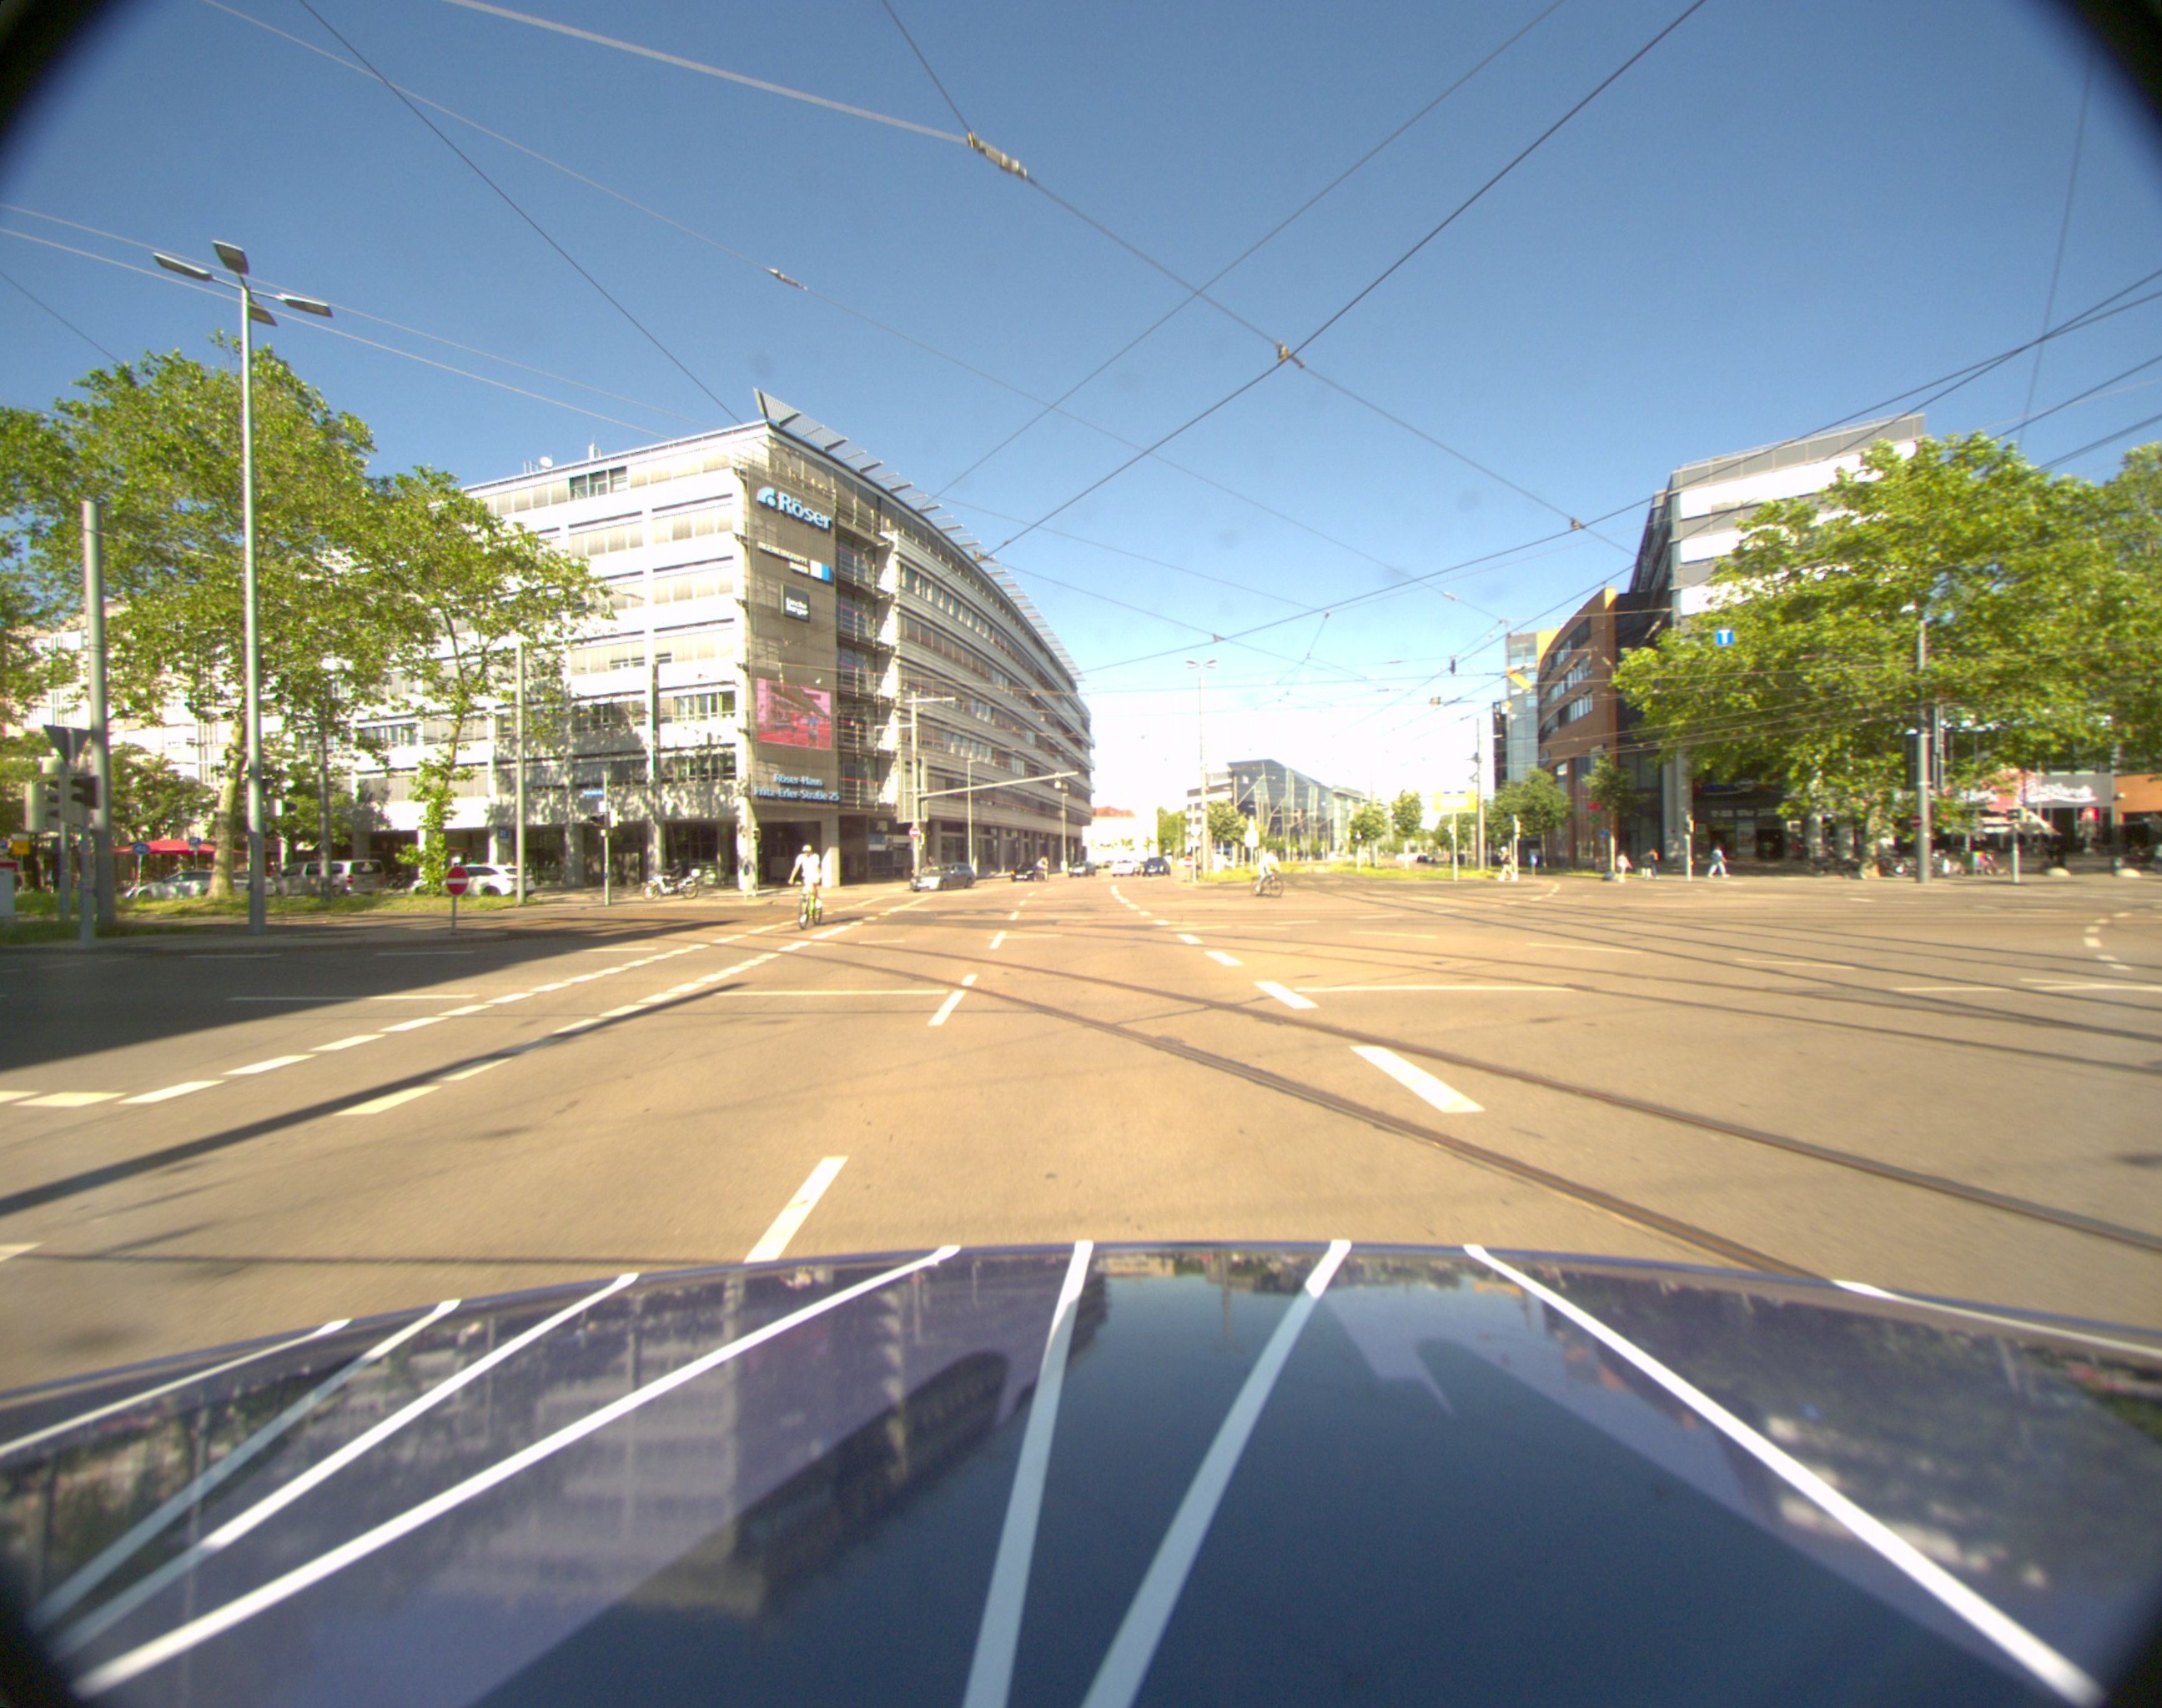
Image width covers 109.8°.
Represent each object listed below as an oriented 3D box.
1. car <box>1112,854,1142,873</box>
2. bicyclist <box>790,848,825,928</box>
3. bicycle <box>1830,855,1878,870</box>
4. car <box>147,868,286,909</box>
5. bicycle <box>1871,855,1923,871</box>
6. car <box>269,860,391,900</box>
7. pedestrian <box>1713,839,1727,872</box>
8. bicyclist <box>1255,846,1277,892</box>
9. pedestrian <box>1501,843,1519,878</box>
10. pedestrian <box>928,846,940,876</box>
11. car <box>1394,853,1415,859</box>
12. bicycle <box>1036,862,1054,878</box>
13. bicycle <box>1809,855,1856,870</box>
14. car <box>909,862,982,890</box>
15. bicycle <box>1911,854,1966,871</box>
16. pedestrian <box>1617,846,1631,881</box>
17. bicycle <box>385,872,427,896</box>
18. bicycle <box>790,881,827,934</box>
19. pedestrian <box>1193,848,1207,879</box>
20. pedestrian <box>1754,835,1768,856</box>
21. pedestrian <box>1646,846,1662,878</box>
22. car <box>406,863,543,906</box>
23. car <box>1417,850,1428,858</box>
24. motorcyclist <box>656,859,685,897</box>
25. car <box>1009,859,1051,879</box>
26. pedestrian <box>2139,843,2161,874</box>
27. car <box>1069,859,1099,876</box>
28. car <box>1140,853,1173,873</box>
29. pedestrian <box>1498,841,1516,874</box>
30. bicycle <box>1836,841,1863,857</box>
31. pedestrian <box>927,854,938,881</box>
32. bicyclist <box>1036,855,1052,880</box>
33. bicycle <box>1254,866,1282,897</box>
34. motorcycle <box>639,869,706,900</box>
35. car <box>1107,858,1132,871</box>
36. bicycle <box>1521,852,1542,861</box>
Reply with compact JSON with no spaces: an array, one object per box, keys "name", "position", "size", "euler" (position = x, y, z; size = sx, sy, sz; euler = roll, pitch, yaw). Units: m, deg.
[{"name":"car","position":[4.139,0.811,67.243],"size":[1.871,1.620,4.343],"euler":[-1,-1,13]},{"name":"bicyclist","position":[-6.211,0.757,17.315],"size":[0.651,1.742,1.044],"euler":[0,-1,-15]},{"name":"bicycle","position":[41.268,0.445,40.579],"size":[2.028,0.794,0.376],"euler":[-1,0,7]},{"name":"car","position":[-36.311,1.432,31.976],"size":[4.132,1.532,1.914],"euler":[-3,-1,9]},{"name":"bicycle","position":[40.930,0.446,38.122],"size":[2.028,0.794,0.376],"euler":[-1,0,7]},{"name":"car","position":[-36.620,1.257,37.106],"size":[4.385,1.841,1.821],"euler":[-1,1,6]},{"name":"pedestrian","position":[35.794,0.067,42.564],"size":[0.462,1.820,0.458],"euler":[-1,0,-22]},{"name":"bicyclist","position":[6.897,0.553,28.323],"size":[0.619,1.659,1.020],"euler":[-2,0,7]},{"name":"pedestrian","position":[22.570,0.361,39.969],"size":[0.761,1.820,0.626],"euler":[-1,0,25]},{"name":"pedestrian","position":[-8.952,0.413,46.309],"size":[0.609,1.787,0.639],"euler":[1,0,-21]},{"name":"car","position":[69.417,0.447,163.000],"size":[3.990,1.084,2.004],"euler":[-1,0,26]},{"name":"bicycle","position":[-2.476,1.103,52.330],"size":[0.827,1.030,1.893],"euler":[-2,-1,7]},{"name":"bicycle","position":[41.220,0.448,41.662],"size":[2.028,0.794,0.376],"euler":[-1,0,7]},{"name":"car","position":[-7.339,1.185,41.820],"size":[1.723,1.388,4.795],"euler":[-1,0,20]},{"name":"bicycle","position":[41.387,0.429,36.688],"size":[2.028,0.794,0.376],"euler":[-1,0,7]},{"name":"pedestrian","position":[28.573,0.478,39.991],"size":[0.386,1.820,0.463],"euler":[-1,0,-16]},{"name":"bicycle","position":[-36.566,1.607,41.186],"size":[0.468,1.212,1.731],"euler":[0,0,10]},{"name":"bicycle","position":[-6.223,1.198,17.413],"size":[0.651,1.103,1.756],"euler":[-1,0,-15]},{"name":"pedestrian","position":[6.745,0.525,43.127],"size":[0.671,1.742,0.769],"euler":[-1,0,3]},{"name":"pedestrian","position":[54.382,-0.684,60.745],"size":[0.507,1.615,0.789],"euler":[-1,2,16]},{"name":"pedestrian","position":[32.357,0.440,42.909],"size":[0.583,1.820,0.497],"euler":[-1,0,-22]},{"name":"car","position":[-25.433,1.257,31.970],"size":[4.136,1.574,1.912],"euler":[-3,-1,-2]},{"name":"car","position":[62.679,-0.042,139.437],"size":[1.430,1.351,3.300],"euler":[-1,0,18]},{"name":"motorcyclist","position":[-17.484,1.004,32.403],"size":[0.943,1.552,0.830],"euler":[-2,0,-21]},{"name":"car","position":[-3.763,1.083,56.809],"size":[1.724,1.414,4.643],"euler":[-1,0,15]},{"name":"pedestrian","position":[50.373,0.218,35.706],"size":[0.646,1.444,0.502],"euler":[-1,0,42]},{"name":"car","position":[0.321,1.282,72.916],"size":[1.724,1.515,4.404],"euler":[-1,0,16]},{"name":"car","position":[6.059,0.684,60.475],"size":[1.871,1.547,4.005],"euler":[-1,0,16]},{"name":"pedestrian","position":[23.351,0.199,41.631],"size":[0.762,1.820,0.625],"euler":[-1,0,21]},{"name":"bicycle","position":[54.693,-0.340,54.108],"size":[0.493,1.127,1.805],"euler":[-1,0,15]},{"name":"pedestrian","position":[-9.147,0.848,46.812],"size":[0.563,1.636,0.428],"euler":[1,0,-21]},{"name":"bicyclist","position":[-2.510,0.931,51.826],"size":[0.808,1.683,1.052],"euler":[-2,0,7]},{"name":"bicycle","position":[6.894,0.991,28.151],"size":[0.688,1.063,2.699],"euler":[-2,-1,7]},{"name":"motorcycle","position":[-17.414,1.285,32.494],"size":[2.392,1.194,0.830],"euler":[-2,0,-21]},{"name":"car","position":[4.561,1.187,89.003],"size":[1.775,1.394,4.299],"euler":[-3,-1,18]},{"name":"bicycle","position":[55.250,0.298,93.203],"size":[2.175,1.116,0.754],"euler":[-2,0,25]}]
